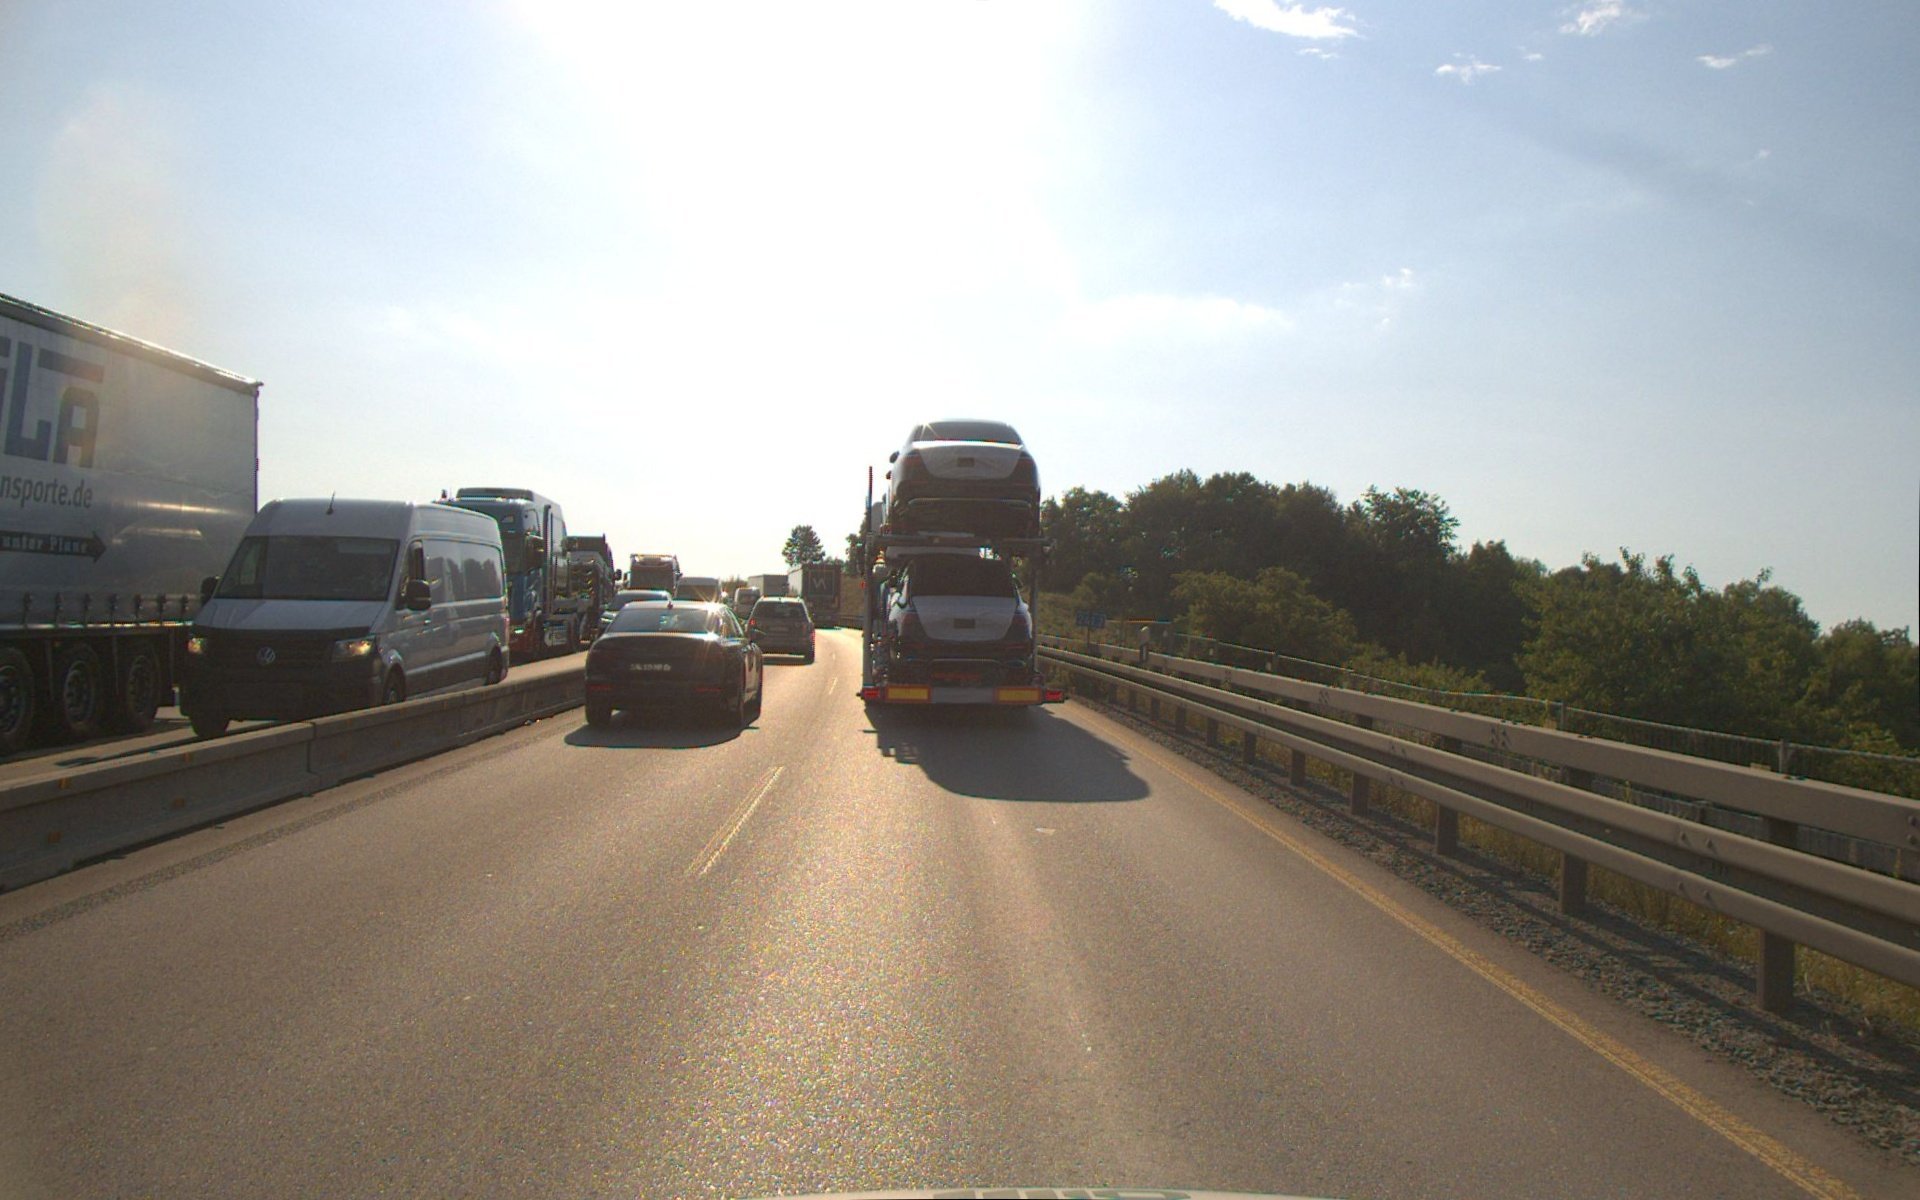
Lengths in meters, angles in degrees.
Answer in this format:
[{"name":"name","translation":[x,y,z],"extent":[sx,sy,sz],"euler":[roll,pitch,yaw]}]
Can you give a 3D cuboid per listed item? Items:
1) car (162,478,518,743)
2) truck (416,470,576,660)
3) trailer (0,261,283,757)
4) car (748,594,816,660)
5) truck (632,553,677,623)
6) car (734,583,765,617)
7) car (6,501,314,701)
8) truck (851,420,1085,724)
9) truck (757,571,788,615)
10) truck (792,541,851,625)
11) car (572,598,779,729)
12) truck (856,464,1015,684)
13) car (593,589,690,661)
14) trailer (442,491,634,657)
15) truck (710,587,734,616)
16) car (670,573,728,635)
[{"name":"car","translation":[-6.875,0.116,19.329],"extent":[2.016,2.544,6.770],"euler":[0,0,-4]},{"name":"truck","translation":[-10.799,-0.751,38.988],"extent":[2.454,4.137,5.879],"euler":[0,0,-4]},{"name":"trailer","translation":[-9.241,-0.775,13.248],"extent":[2.261,4.203,14.592],"euler":[0,0,-3]},{"name":"car","translation":[-4.582,0.665,42.626],"extent":[1.659,1.624,3.995],"euler":[0,0,-6]},{"name":"truck","translation":[-17.148,-0.619,92.779],"extent":[2.272,3.670,11.940],"euler":[0,0,-11]},{"name":"car","translation":[-16.135,0.035,127.009],"extent":[1.882,2.536,5.406],"euler":[0,0,-3]},{"name":"car","translation":[-11.493,0.026,24.326],"extent":[2.115,2.602,5.584],"euler":[0,0,-4]},{"name":"truck","translation":[-0.203,-0.305,24.743],"extent":[2.743,3.558,10.598],"euler":[0,0,-3]},{"name":"truck","translation":[-16.369,-0.542,144.771],"extent":[2.481,3.712,8.895],"euler":[0,0,-5]},{"name":"truck","translation":[-9.367,-1.083,111.037],"extent":[3.225,5.328,9.915],"euler":[0,0,-9]},{"name":"car","translation":[-3.434,0.707,20.894],"extent":[1.895,1.423,4.959],"euler":[1,0,-2]},{"name":"truck","translation":[-0.643,-0.441,34.245],"extent":[2.781,3.858,9.981],"euler":[0,0,-3]},{"name":"car","translation":[-8.068,0.606,42.251],"extent":[1.833,1.724,4.593],"euler":[0,0,-3]},{"name":"trailer","translation":[-11.553,-0.600,47.066],"extent":[2.642,3.941,15.376],"euler":[0,0,-4]},{"name":"truck","translation":[-27.764,0.182,192.966],"extent":[2.541,3.226,6.668],"euler":[0,0,-6]},{"name":"car","translation":[-11.033,0.181,70.265],"extent":[2.064,2.526,6.059],"euler":[0,0,-6]}]
